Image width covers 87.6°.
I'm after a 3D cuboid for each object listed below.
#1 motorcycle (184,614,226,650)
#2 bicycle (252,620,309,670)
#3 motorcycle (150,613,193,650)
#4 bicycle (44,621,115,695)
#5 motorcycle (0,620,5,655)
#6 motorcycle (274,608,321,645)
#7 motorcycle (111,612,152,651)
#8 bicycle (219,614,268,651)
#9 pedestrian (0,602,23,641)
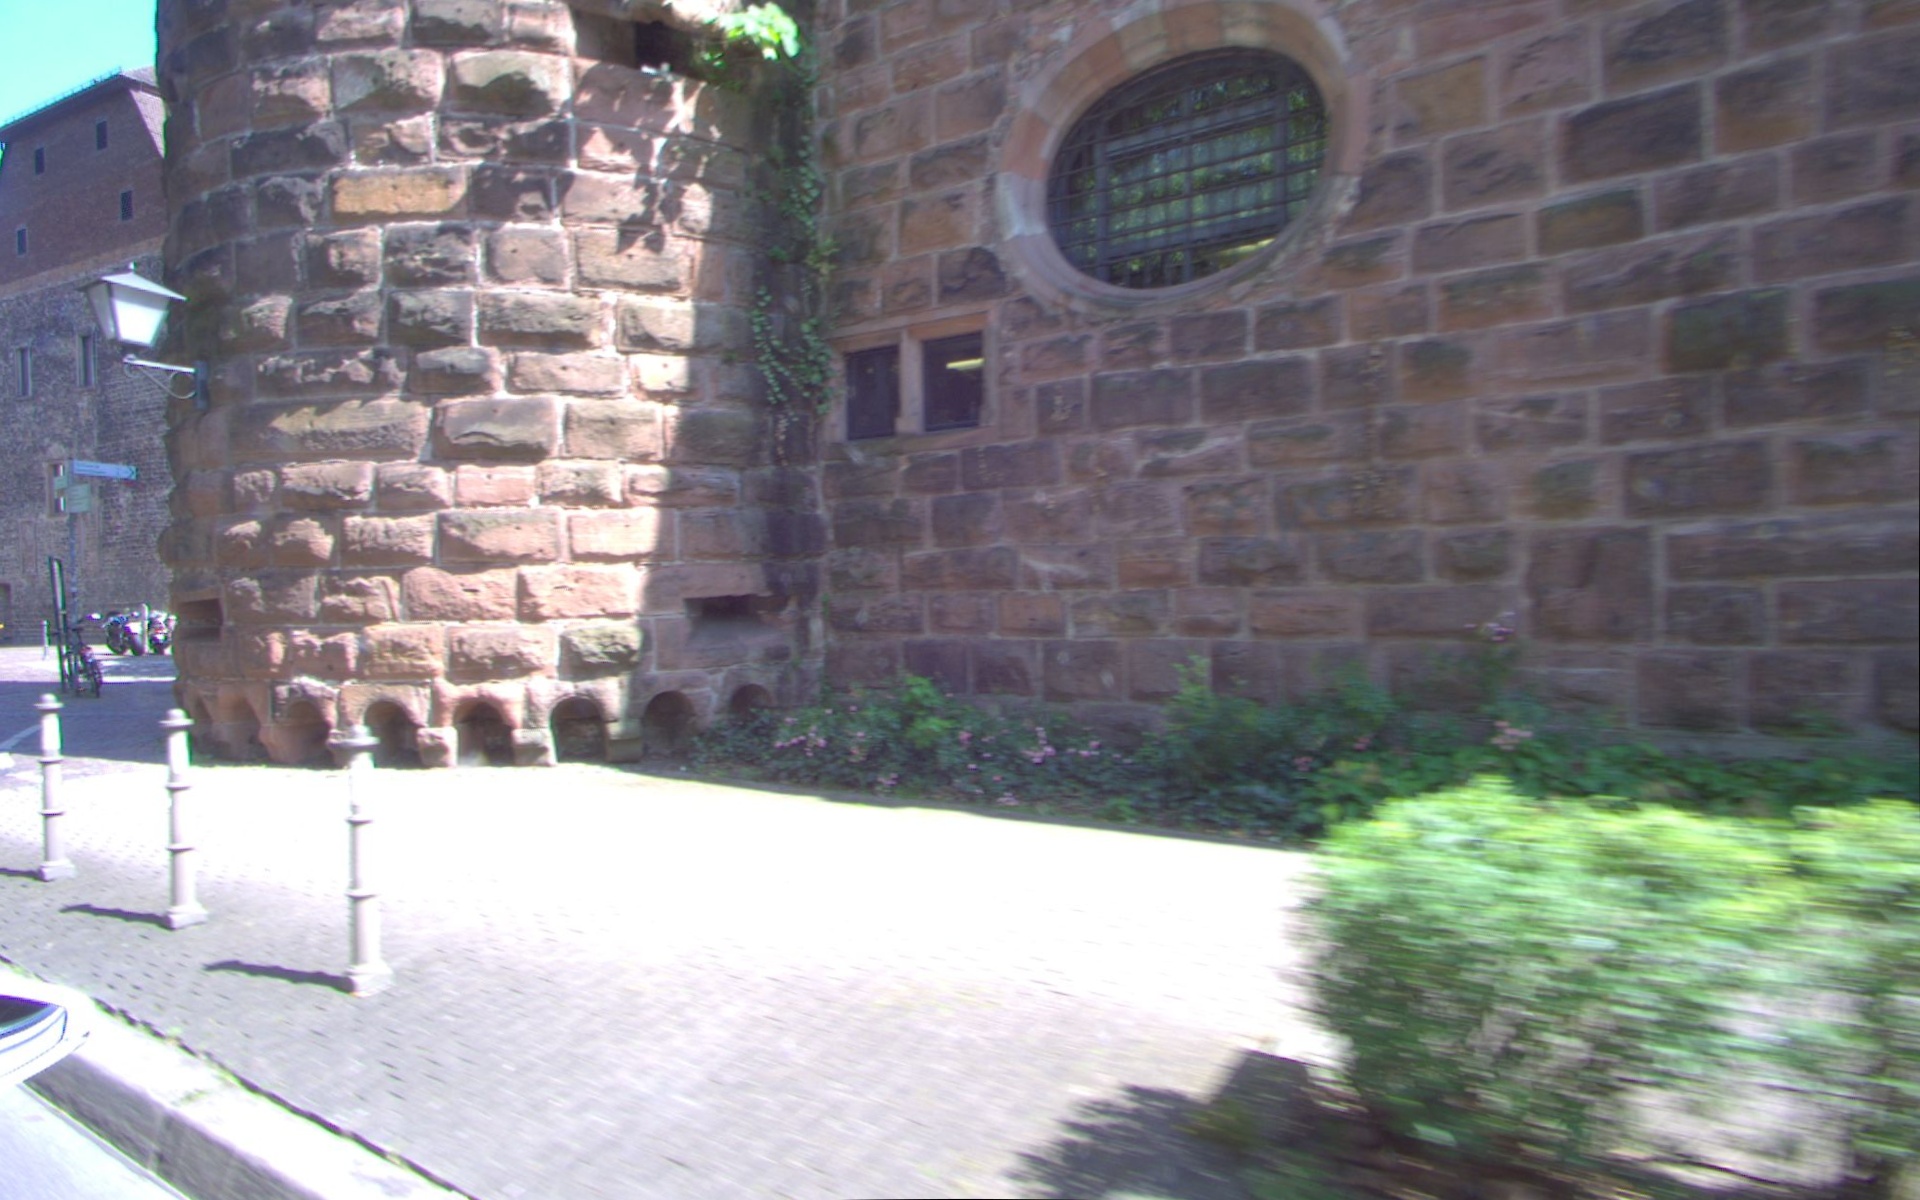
[{"bbox_3d":[-20.964,0.882,27.809,1.446,0.985,0.457,-1,-2,33],"label":"motorcycle"},{"bbox_3d":[-14.800,0.975,21.782,2.027,1.043,0.494,-1,-2,41],"label":"bicycle"},{"bbox_3d":[-21.292,0.852,27.021,1.446,0.985,0.457,-1,-2,33],"label":"motorcycle"},{"bbox_3d":[-13.489,0.856,15.324,2.027,1.044,0.493,-1,2,41],"label":"bicycle"},{"bbox_3d":[-23.660,0.901,24.085,2.247,0.829,0.482,0,1,33],"label":"motorcycle"},{"bbox_3d":[-19.313,0.776,29.178,1.677,1.032,0.498,-1,-2,33],"label":"motorcycle"},{"bbox_3d":[-21.803,0.824,26.333,1.339,0.985,0.435,-1,-2,33],"label":"motorcycle"},{"bbox_3d":[-20.172,0.915,28.177,1.798,1.002,0.403,-1,-1,30],"label":"bicycle"},{"bbox_3d":[-38.215,0.869,40.248,0.618,1.537,0.656,0,-1,34],"label":"pedestrian"}]
